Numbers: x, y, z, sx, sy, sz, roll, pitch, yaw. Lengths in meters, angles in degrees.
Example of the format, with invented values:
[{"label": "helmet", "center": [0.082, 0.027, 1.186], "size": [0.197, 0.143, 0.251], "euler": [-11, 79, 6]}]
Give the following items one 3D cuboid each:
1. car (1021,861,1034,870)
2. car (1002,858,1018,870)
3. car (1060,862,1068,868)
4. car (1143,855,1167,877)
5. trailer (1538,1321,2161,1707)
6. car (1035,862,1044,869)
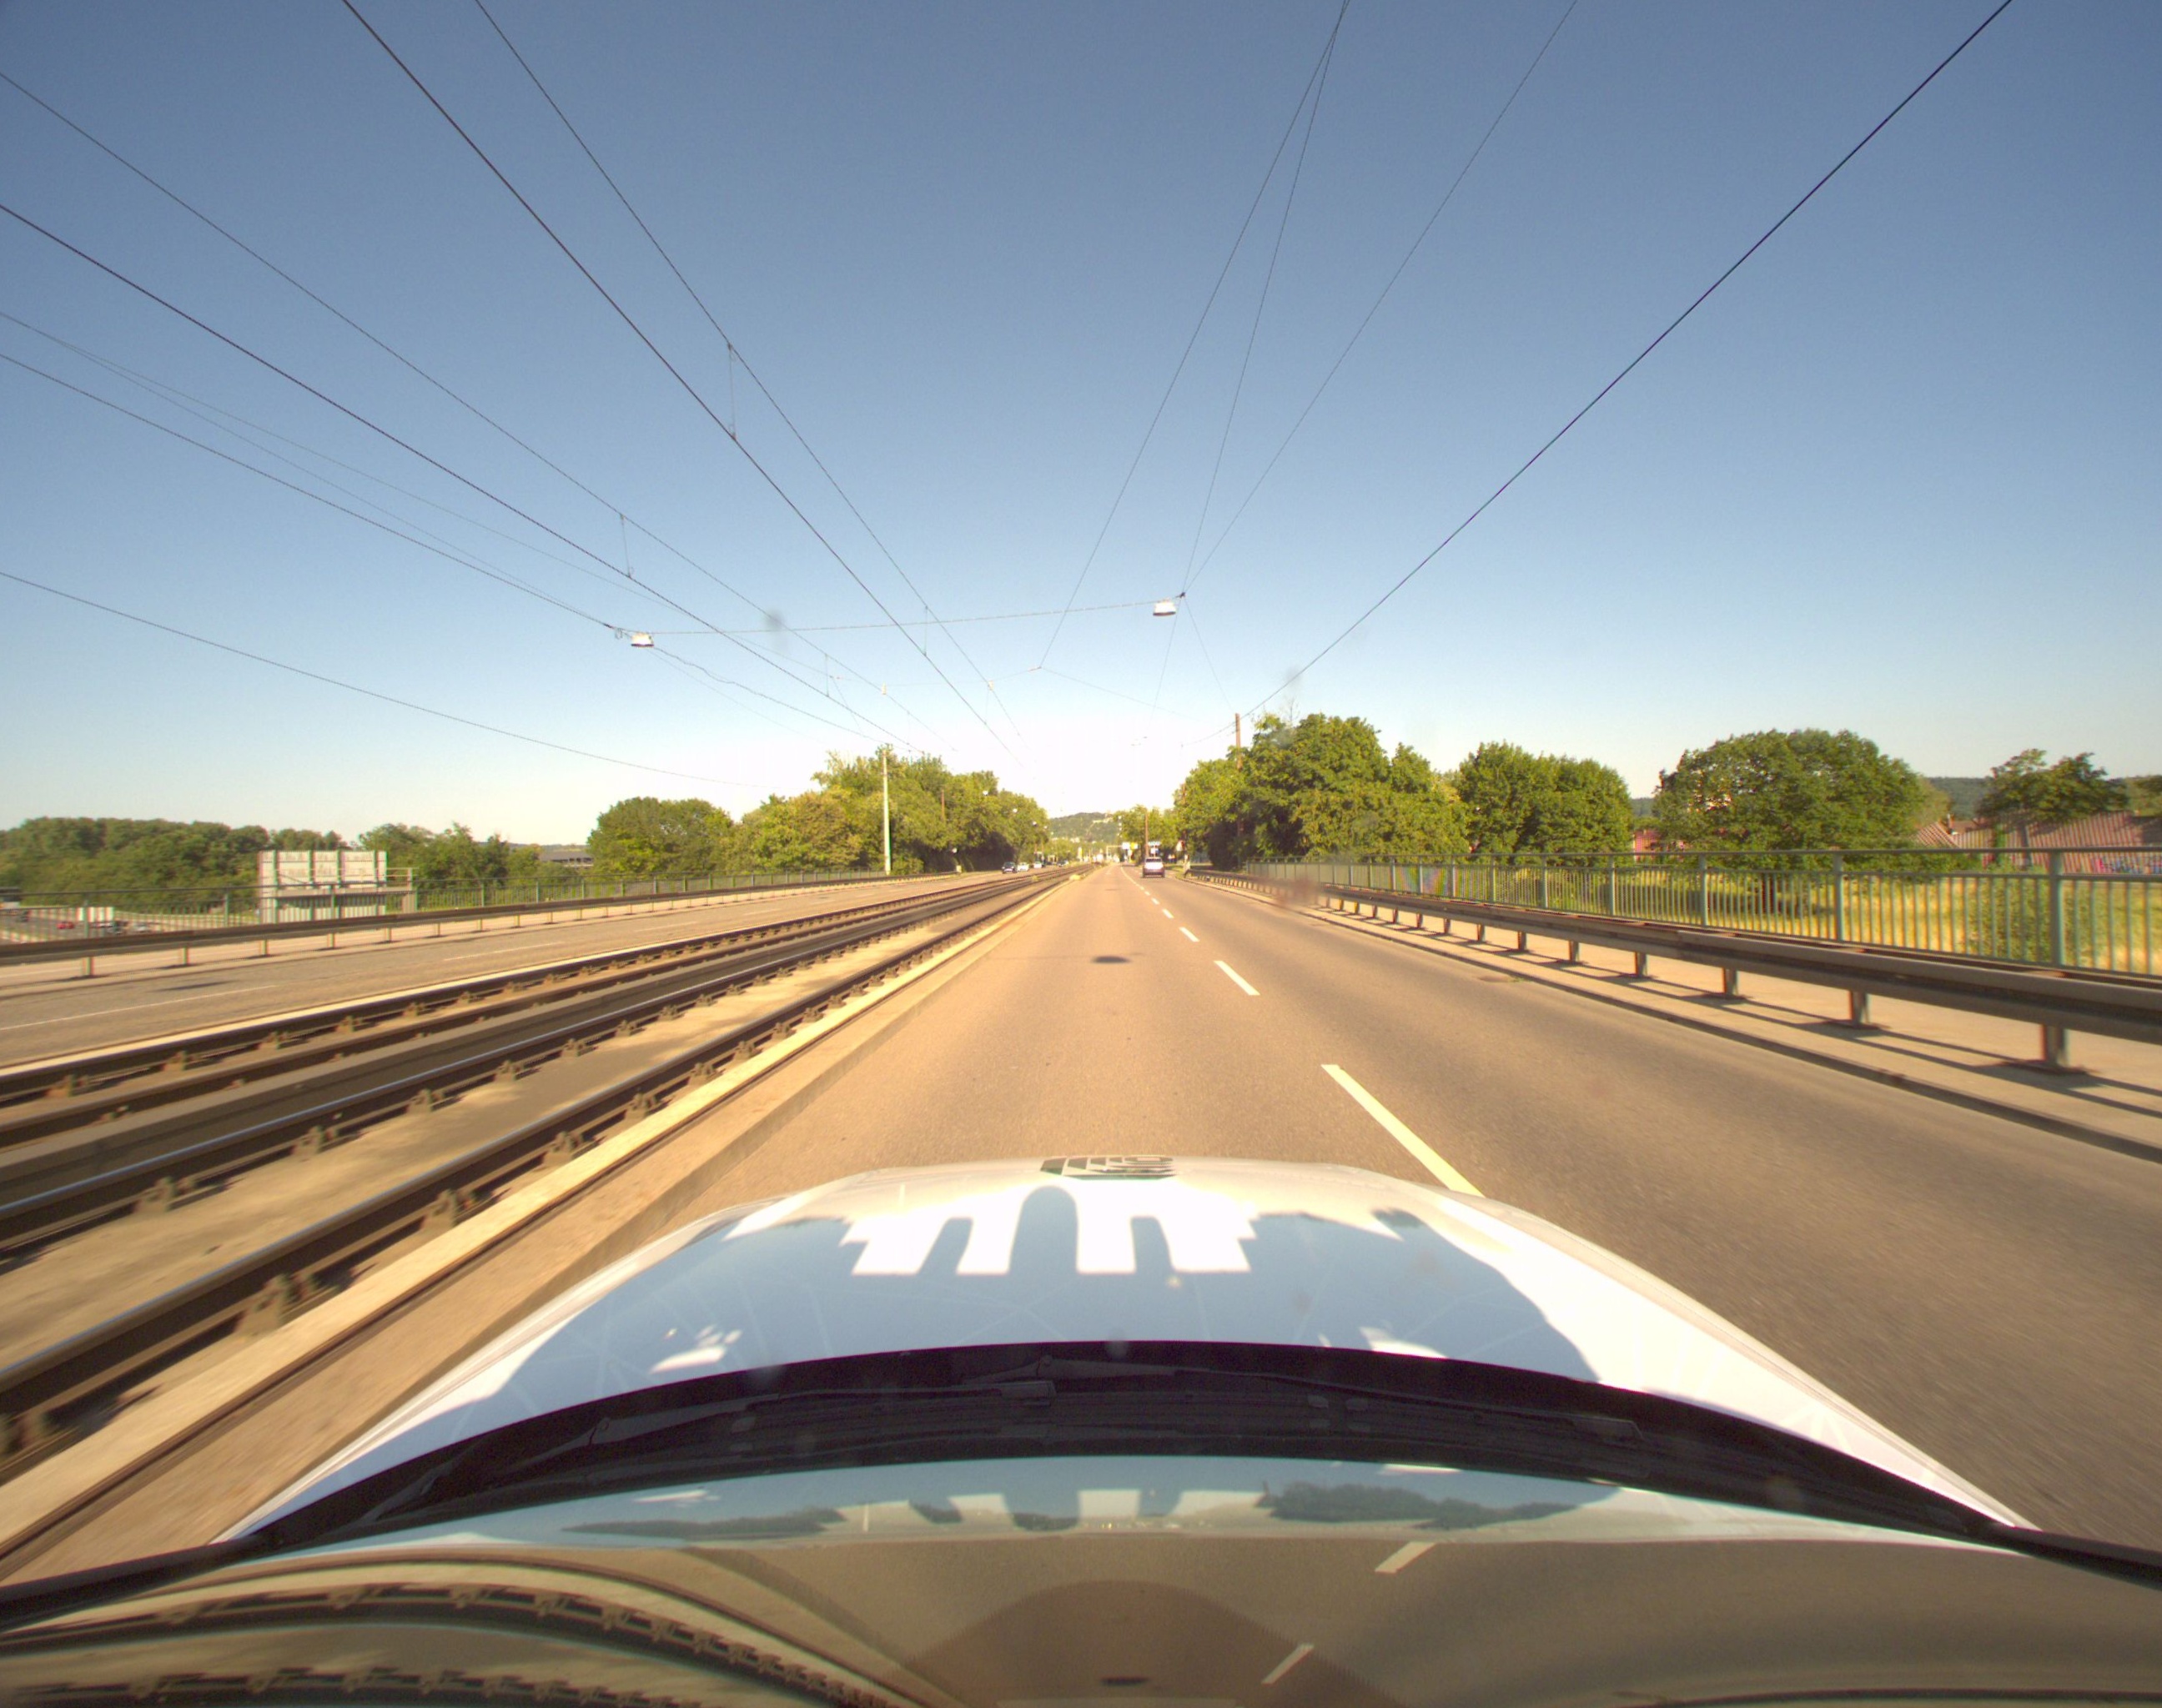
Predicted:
[{"label": "car", "center": [-9.247, 2.011, 140.487], "size": [1.749, 1.414, 4.878], "euler": [-4, -1, 1]}, {"label": "car", "center": [-10.101, 1.435, 116.535], "size": [1.703, 1.580, 4.802], "euler": [-2, 0, 1]}, {"label": "car", "center": [-4.218, 2.736, 202.323], "size": [1.650, 1.432, 4.505], "euler": [-3, -1, 3]}, {"label": "car", "center": [6.177, 0.995, 67.762], "size": [1.799, 1.773, 3.869], "euler": [0, 0, 7]}, {"label": "trailer", "center": [6.936, 5.392, 2.564], "size": [9.251, 3.856, 3.074], "euler": [-3, -3, 33]}, {"label": "car", "center": [-10.287, 2.781, 203.501], "size": [1.684, 1.556, 4.194], "euler": [-3, -1, 3]}]
